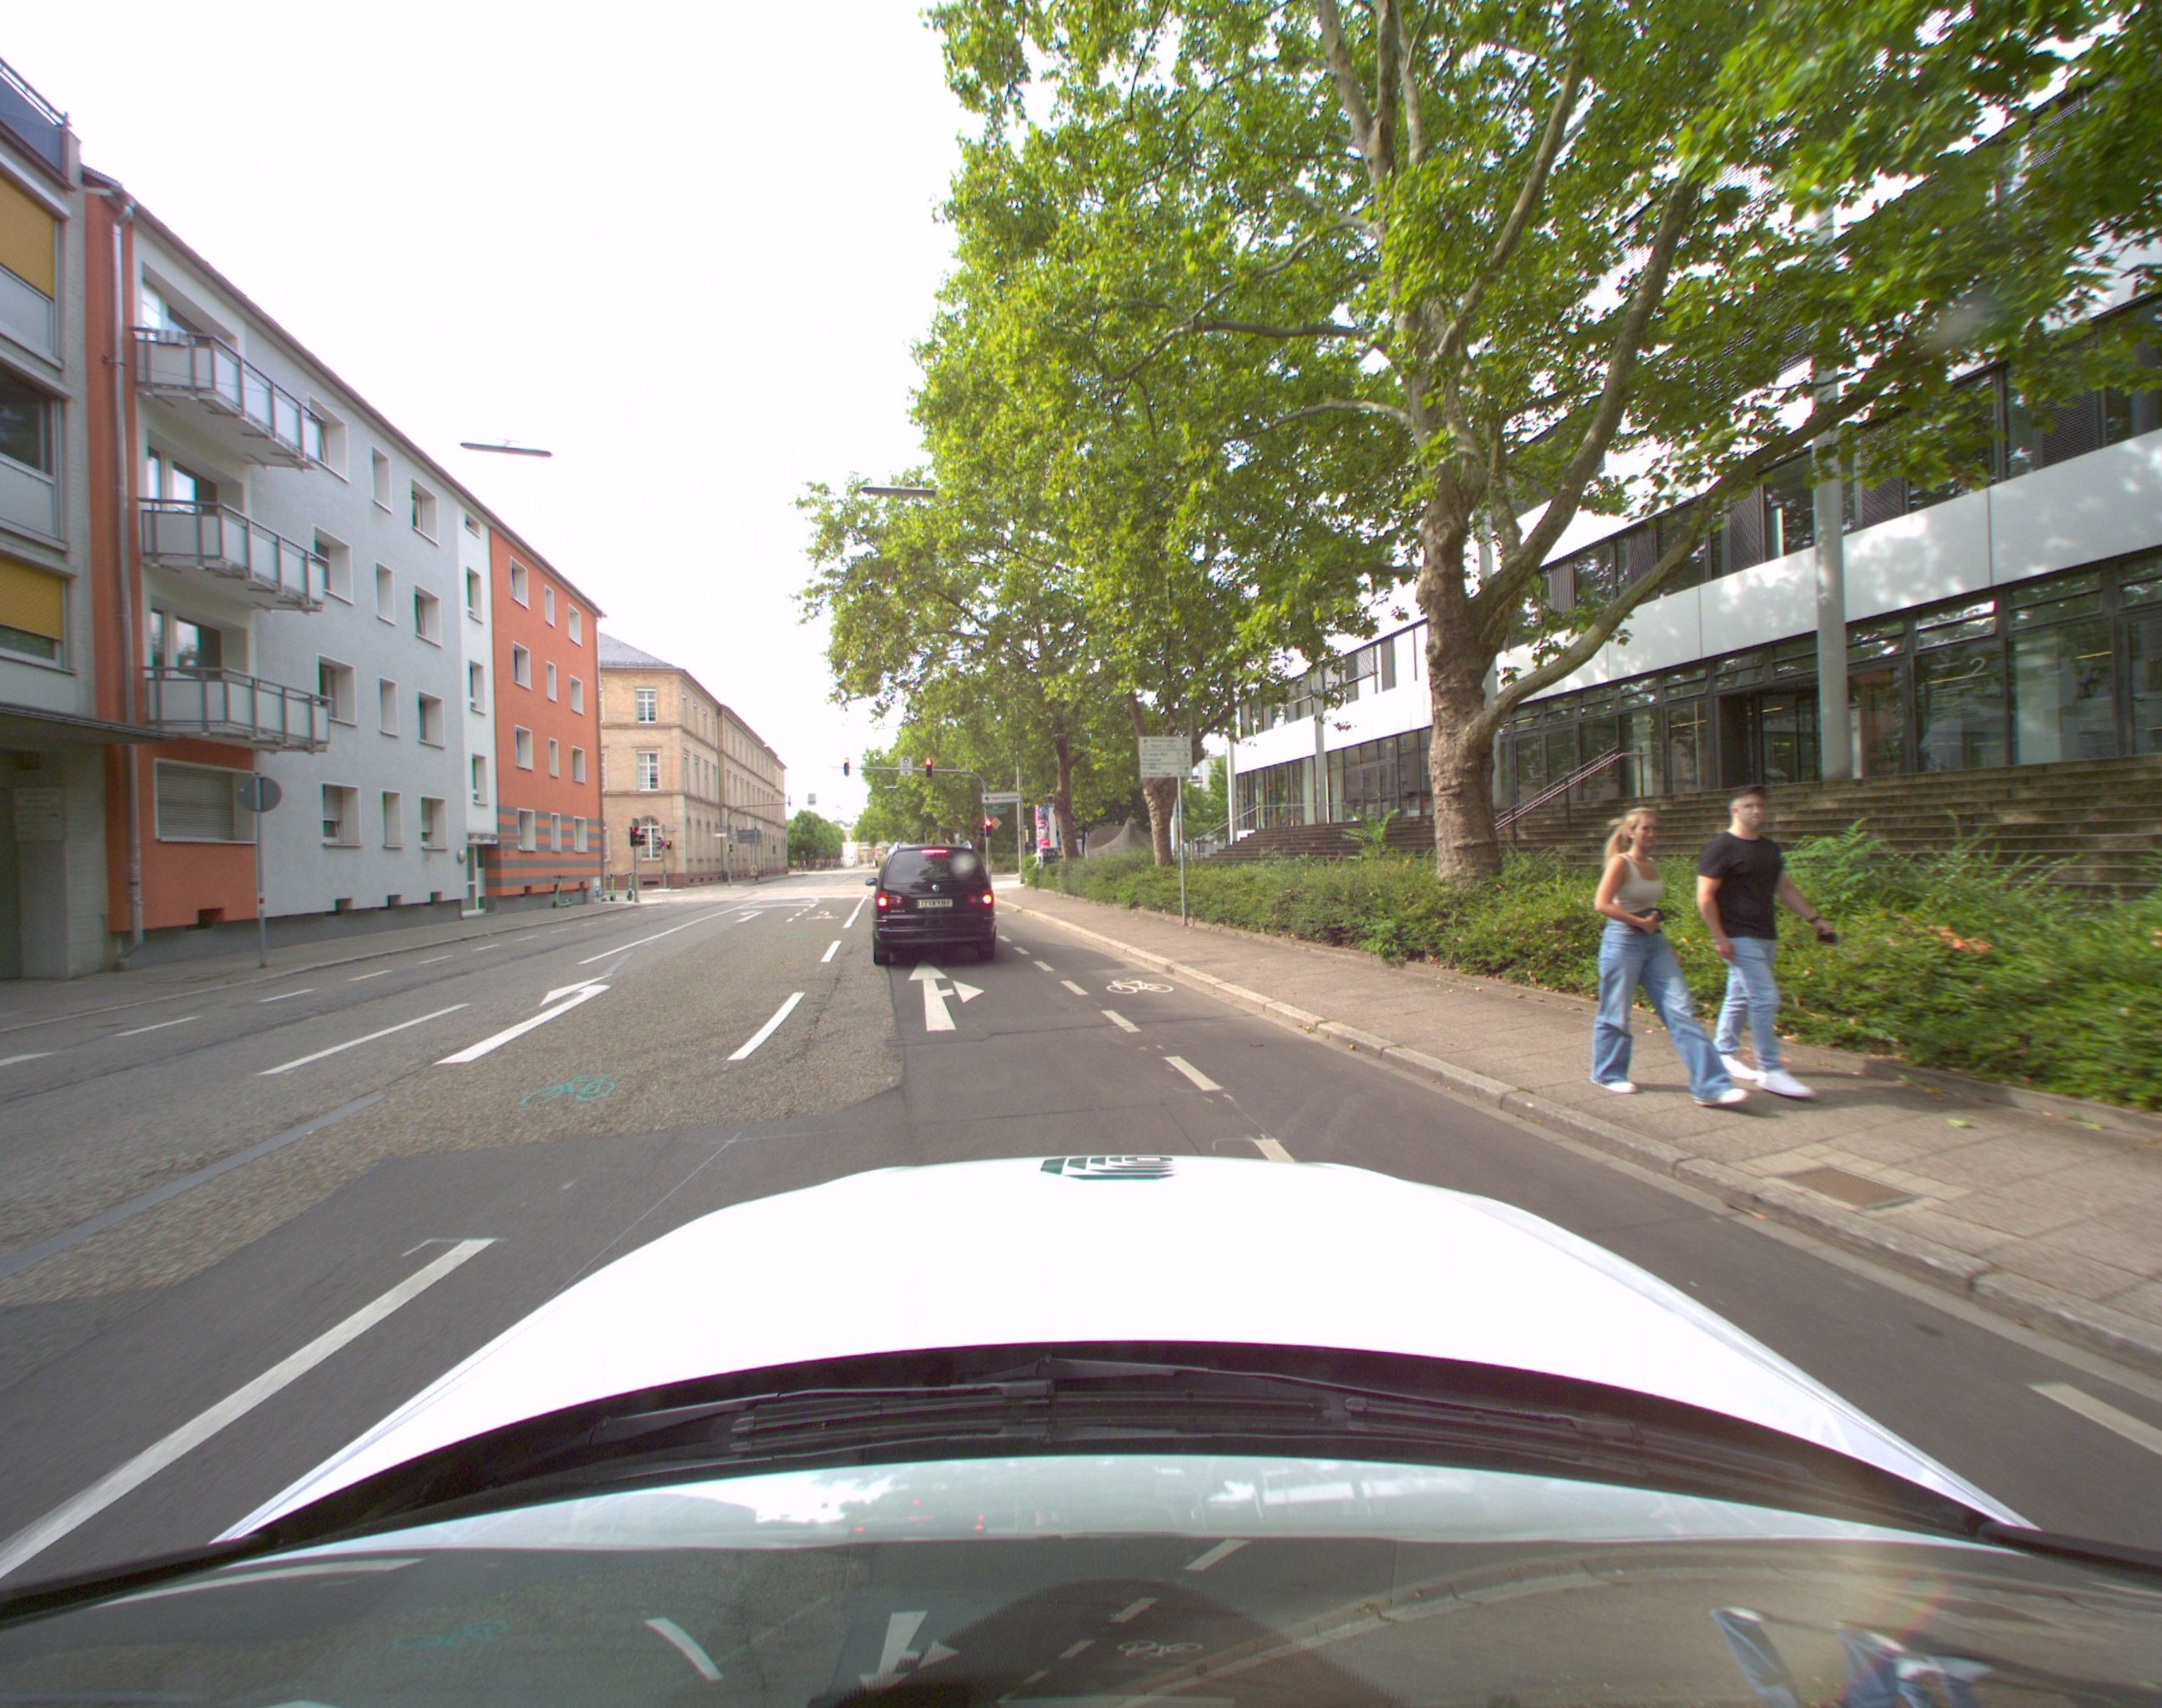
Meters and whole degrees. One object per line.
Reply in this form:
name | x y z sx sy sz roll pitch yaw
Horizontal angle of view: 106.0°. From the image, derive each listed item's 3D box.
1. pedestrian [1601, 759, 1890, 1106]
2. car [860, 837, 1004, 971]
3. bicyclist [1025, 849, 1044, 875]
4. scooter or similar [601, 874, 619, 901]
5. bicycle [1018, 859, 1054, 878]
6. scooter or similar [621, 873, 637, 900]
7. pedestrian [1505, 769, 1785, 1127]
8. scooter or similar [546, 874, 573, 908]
pedestrian | 3.893 0.407 4.860 0.716 1.800 1.028 -4 0 -15
car | -2.388 0.664 13.299 1.874 1.745 4.558 -2 0 -10
bicyclist | -2.746 0.483 48.548 0.919 1.514 0.621 -2 0 -25
scooter or similar | -20.401 1.441 35.271 0.379 1.147 1.135 -2 -2 -17
bicycle | -2.682 0.863 48.569 2.029 1.094 0.622 -2 0 -26
scooter or similar | -19.954 1.442 35.943 0.379 1.144 1.135 -2 -2 -17
pedestrian | 3.193 0.471 4.709 0.712 1.783 1.028 -4 0 -15
scooter or similar | -18.761 1.334 29.305 0.378 1.184 1.383 -2 -1 -14
